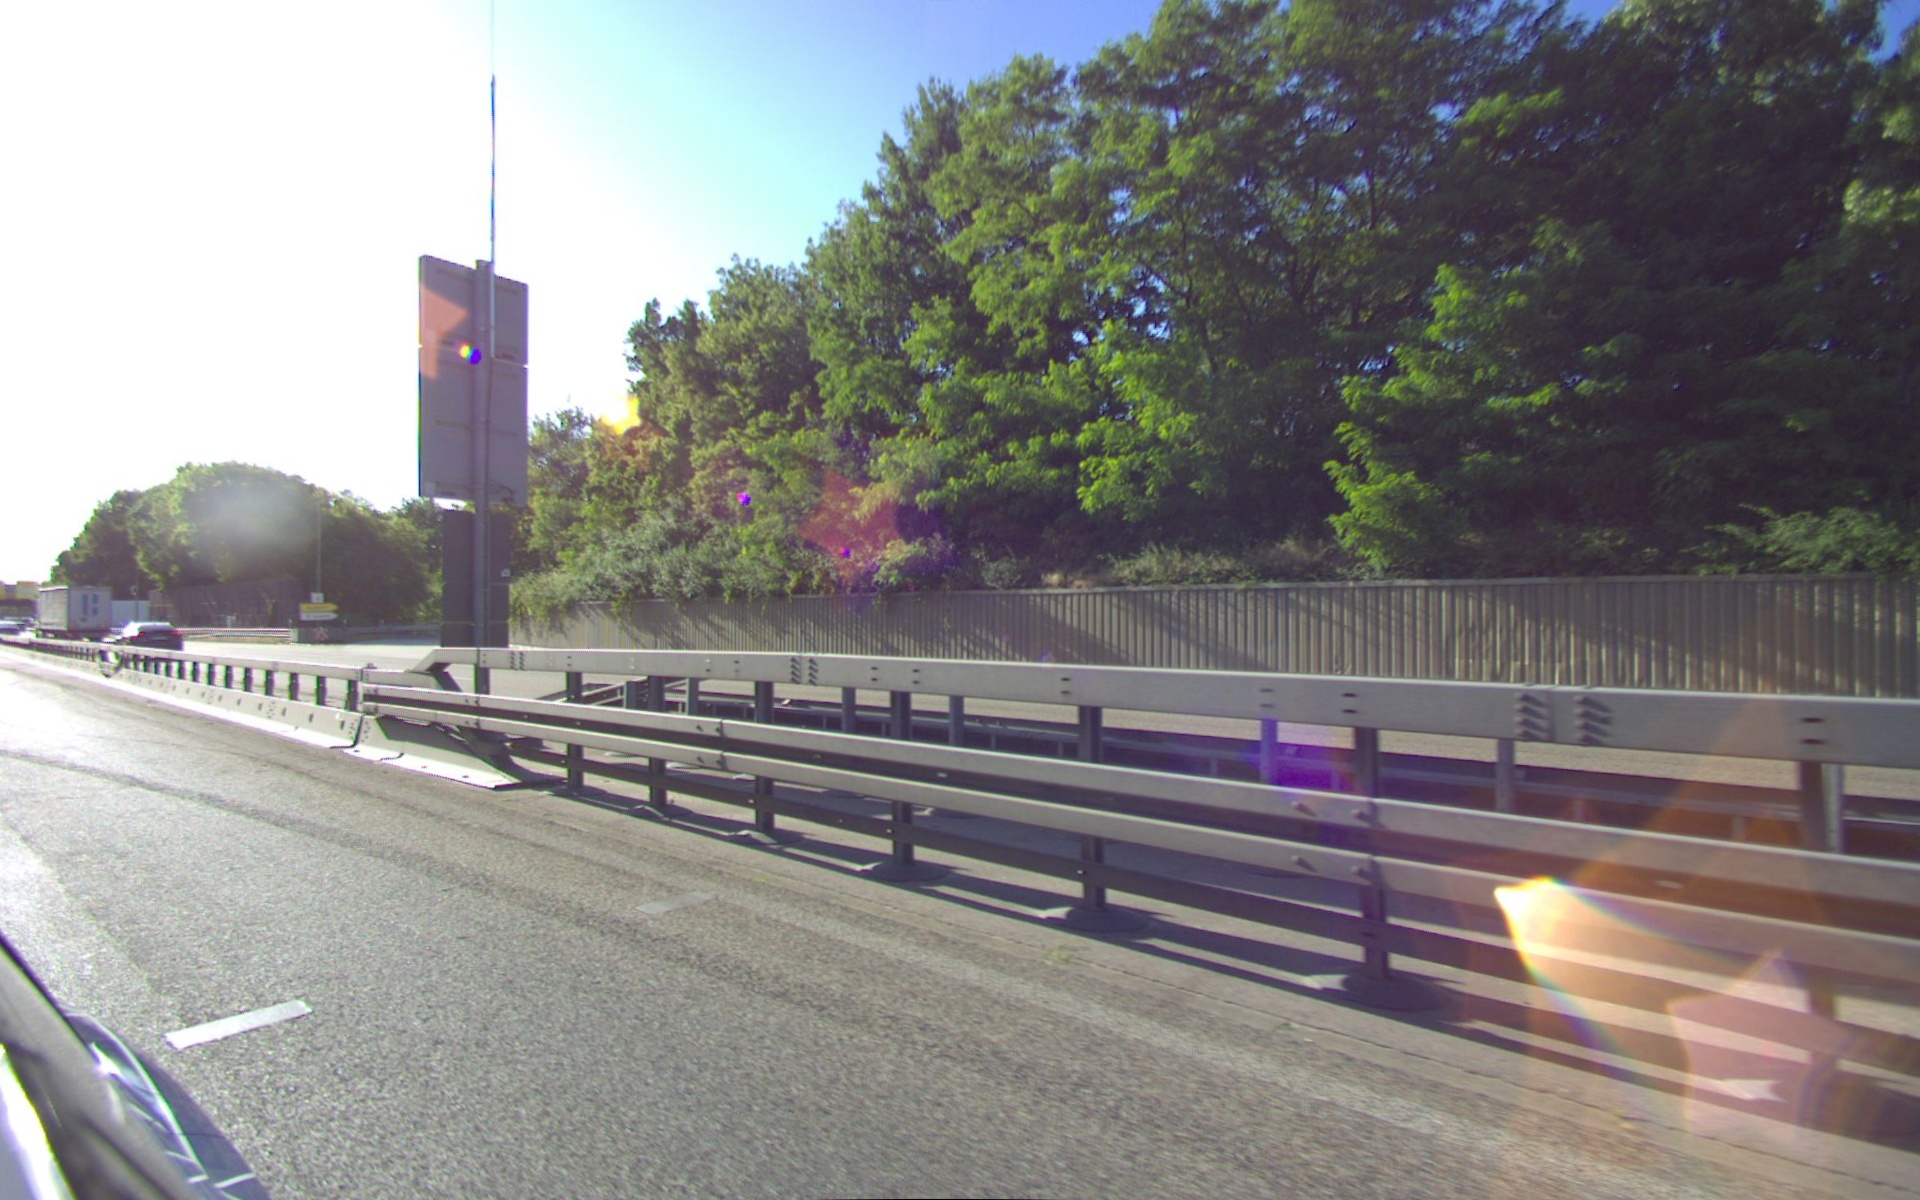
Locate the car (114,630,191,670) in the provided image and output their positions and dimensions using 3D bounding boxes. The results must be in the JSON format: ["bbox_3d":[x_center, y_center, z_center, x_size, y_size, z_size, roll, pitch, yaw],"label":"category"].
[{"bbox_3d":[-33.267,2.039,41.662,4.200,1.497,1.971,-3,-2,44],"label":"car"}]

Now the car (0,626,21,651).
[{"bbox_3d":[-68.631,2.788,72.162,4.937,1.670,1.972,-3,-1,42],"label":"car"}]

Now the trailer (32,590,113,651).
[{"bbox_3d":[-68.143,1.670,77.544,14.076,4.312,2.719,-3,-1,41],"label":"trailer"}]

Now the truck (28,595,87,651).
[{"bbox_3d":[-72.990,1.888,81.812,6.383,4.294,2.708,-3,-1,41],"label":"truck"}]

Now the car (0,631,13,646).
[{"bbox_3d":[-150.708,6.138,159.475,2.052,2.298,5.378,-2,-1,-44],"label":"car"}]
